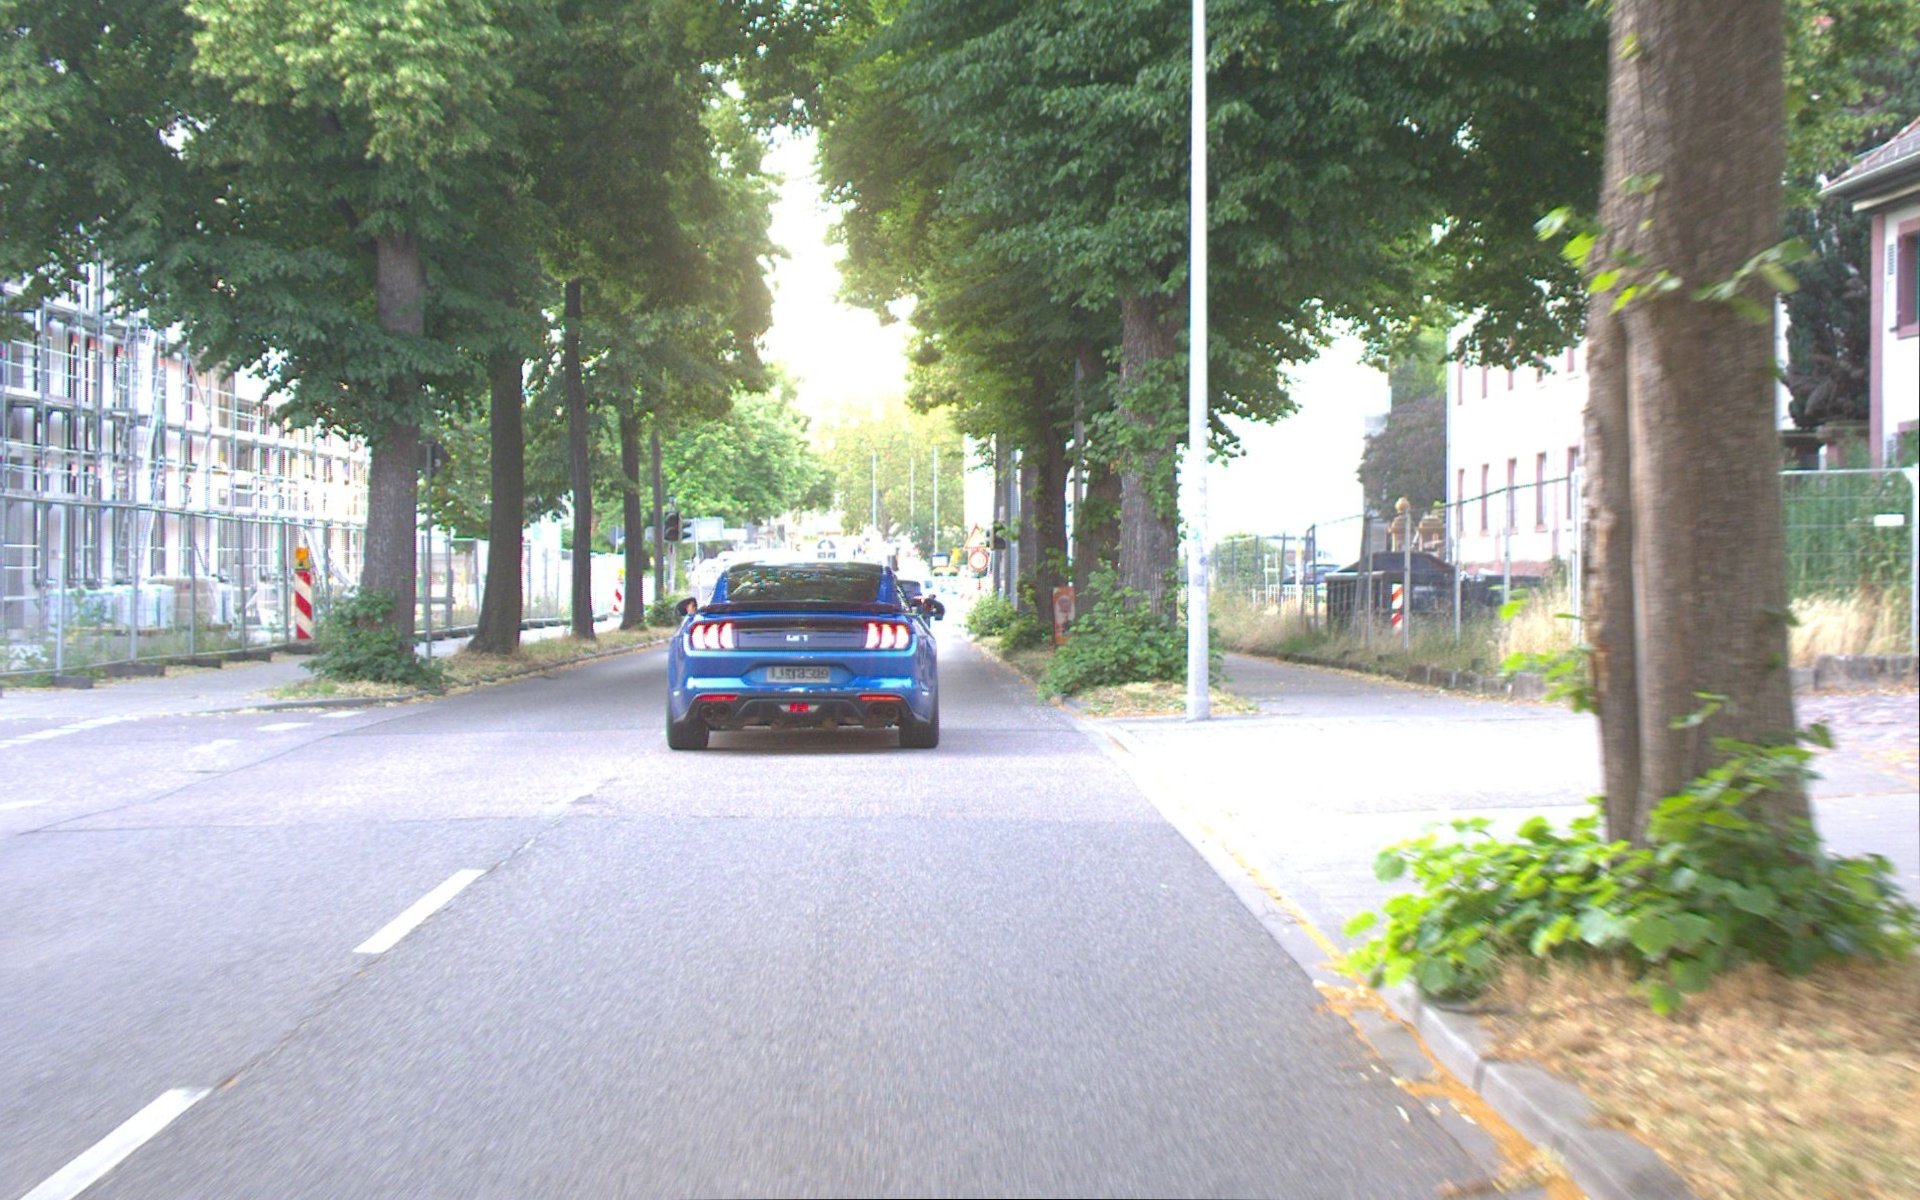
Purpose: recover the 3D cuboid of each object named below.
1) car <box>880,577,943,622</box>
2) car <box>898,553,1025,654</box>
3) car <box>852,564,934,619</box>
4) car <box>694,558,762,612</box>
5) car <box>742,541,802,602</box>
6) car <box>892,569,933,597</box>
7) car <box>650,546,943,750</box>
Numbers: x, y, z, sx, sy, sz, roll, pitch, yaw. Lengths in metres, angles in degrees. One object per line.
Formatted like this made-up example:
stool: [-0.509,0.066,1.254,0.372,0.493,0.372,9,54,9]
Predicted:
car: [-1.577,-0.026,111.175,1.947,1.322,4.000,2,1,-1]
car: [0.062,0.039,56.256,1.947,1.522,4.000,2,1,1]
car: [-1.727,-0.238,90.034,1.947,1.322,4.000,2,1,1]
car: [-9.562,-0.651,141.875,2.336,2.190,5.308,0,1,1]
car: [-8.350,-1.276,153.507,2.492,2.687,5.831,0,1,-1]
car: [-2.375,-0.840,171.448,1.947,1.322,4.000,2,1,-1]
car: [-1.144,0.305,25.370,1.947,1.322,4.000,2,1,-1]
